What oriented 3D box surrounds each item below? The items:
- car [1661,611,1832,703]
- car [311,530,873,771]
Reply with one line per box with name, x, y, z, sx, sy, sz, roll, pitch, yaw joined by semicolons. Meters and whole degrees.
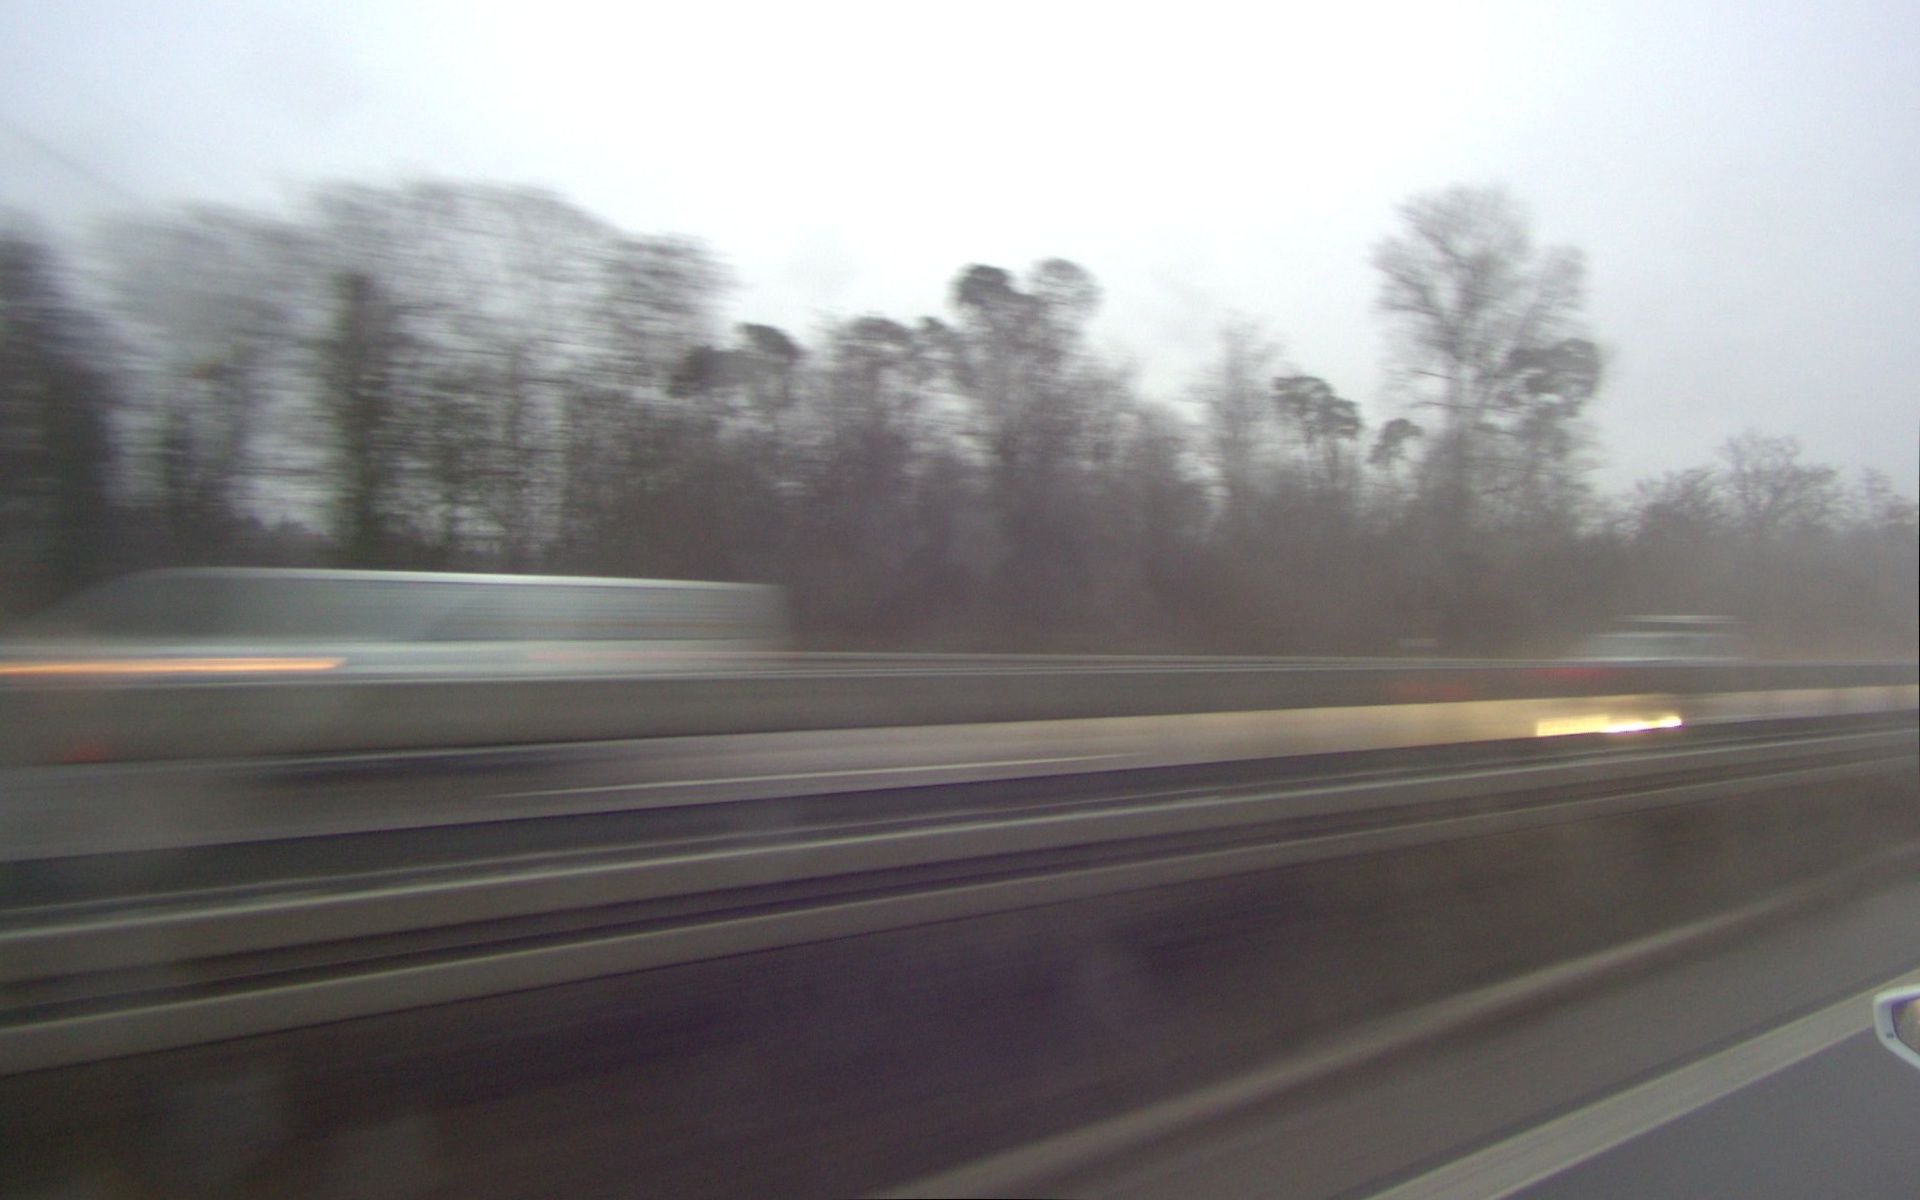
car;19.510;1.361;24.887;4.410;2.109;1.850;2;-1;-30
car;-3.710;0.532;10.689;5.195;2.040;1.984;2;-1;-30
